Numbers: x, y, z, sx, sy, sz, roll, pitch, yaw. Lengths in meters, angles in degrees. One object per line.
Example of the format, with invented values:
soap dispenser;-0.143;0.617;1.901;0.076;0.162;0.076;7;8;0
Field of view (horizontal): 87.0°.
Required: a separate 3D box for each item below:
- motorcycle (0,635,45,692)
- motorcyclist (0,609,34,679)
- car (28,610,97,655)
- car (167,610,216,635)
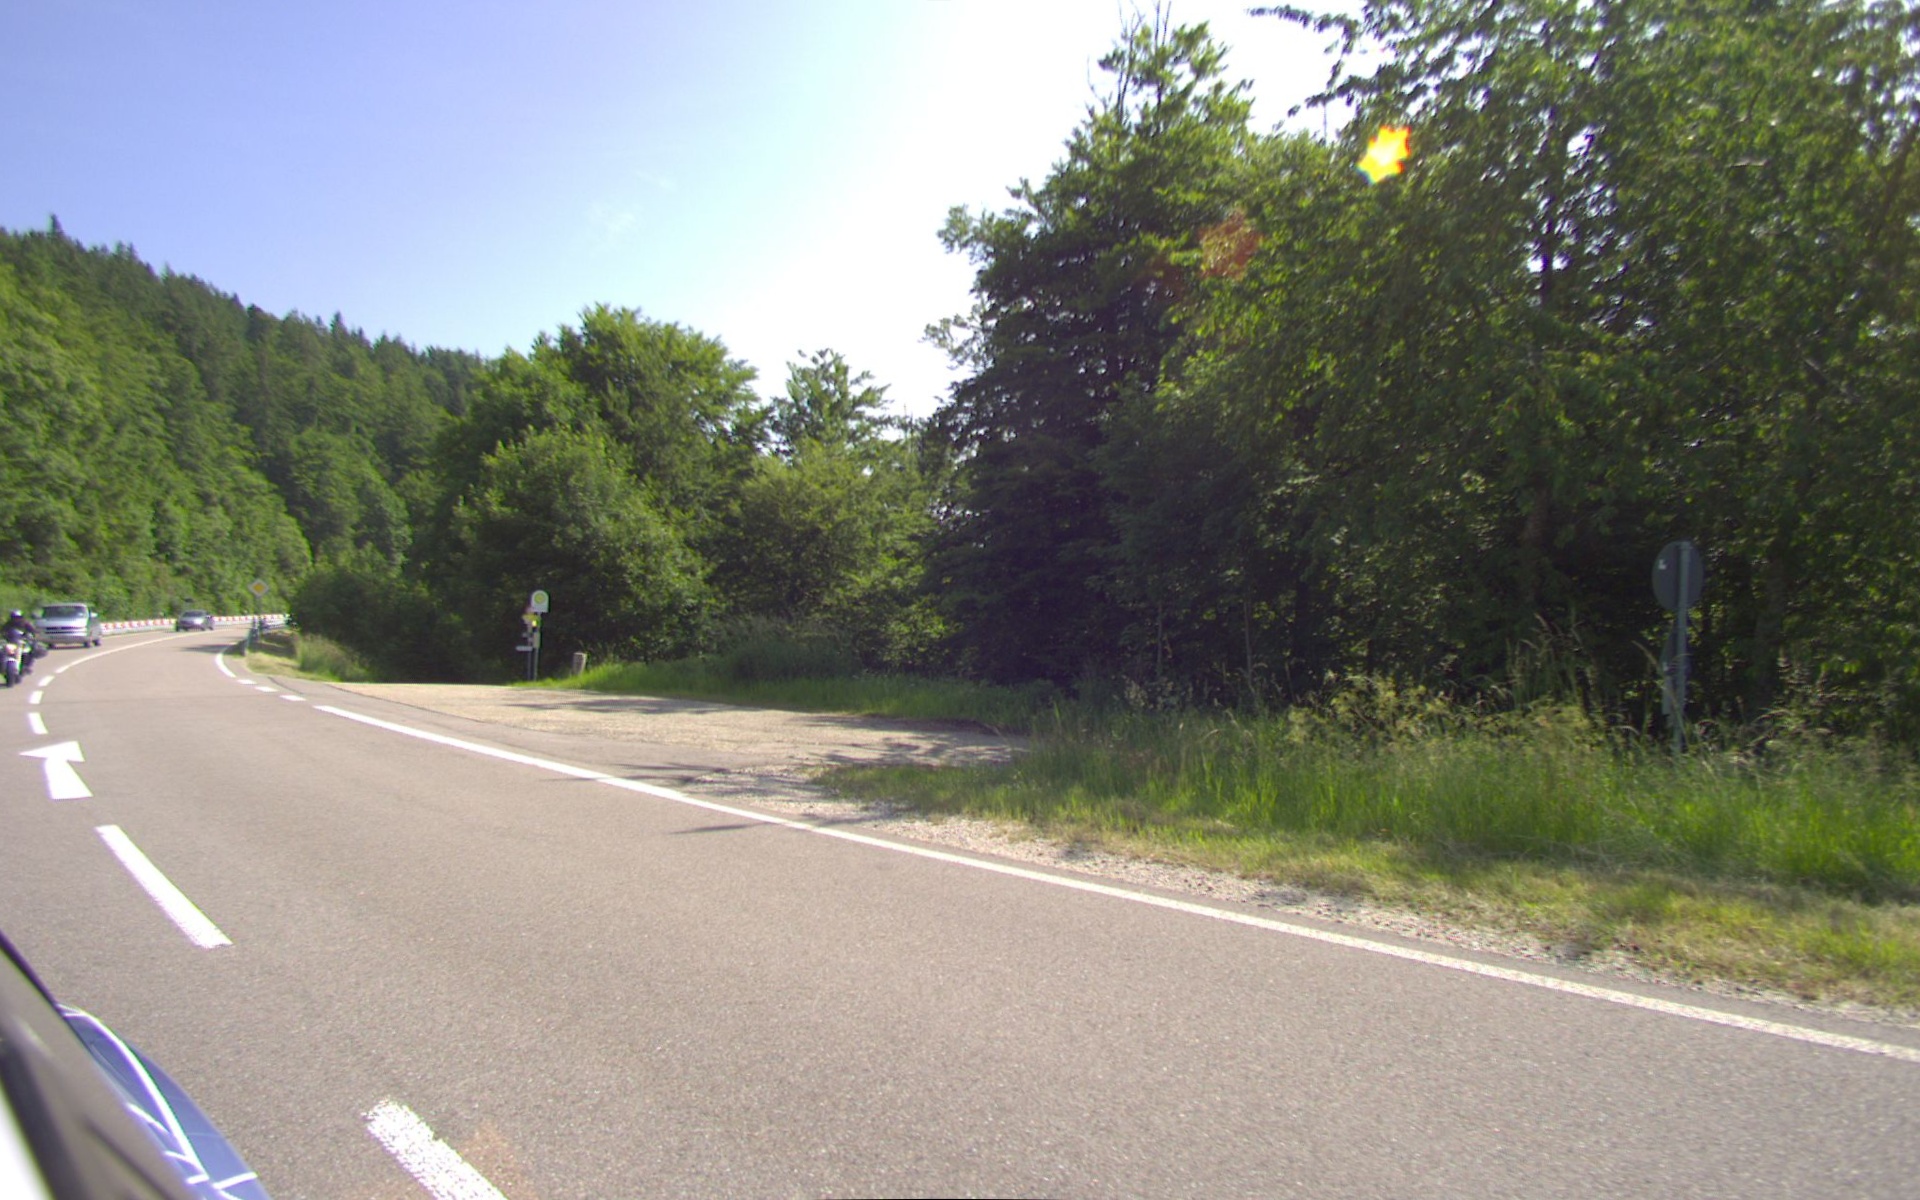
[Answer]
motorcycle;-20.406;1.351;21.611;1.092;1.132;1.965;-1;-1;-36
motorcyclist;-20.440;0.948;21.648;0.705;1.441;1.002;-3;1;-34
car;-37.821;1.337;42.720;1.626;1.773;3.805;0;0;-33
car;-53.631;1.540;70.708;1.965;1.655;4.013;-2;0;-27
